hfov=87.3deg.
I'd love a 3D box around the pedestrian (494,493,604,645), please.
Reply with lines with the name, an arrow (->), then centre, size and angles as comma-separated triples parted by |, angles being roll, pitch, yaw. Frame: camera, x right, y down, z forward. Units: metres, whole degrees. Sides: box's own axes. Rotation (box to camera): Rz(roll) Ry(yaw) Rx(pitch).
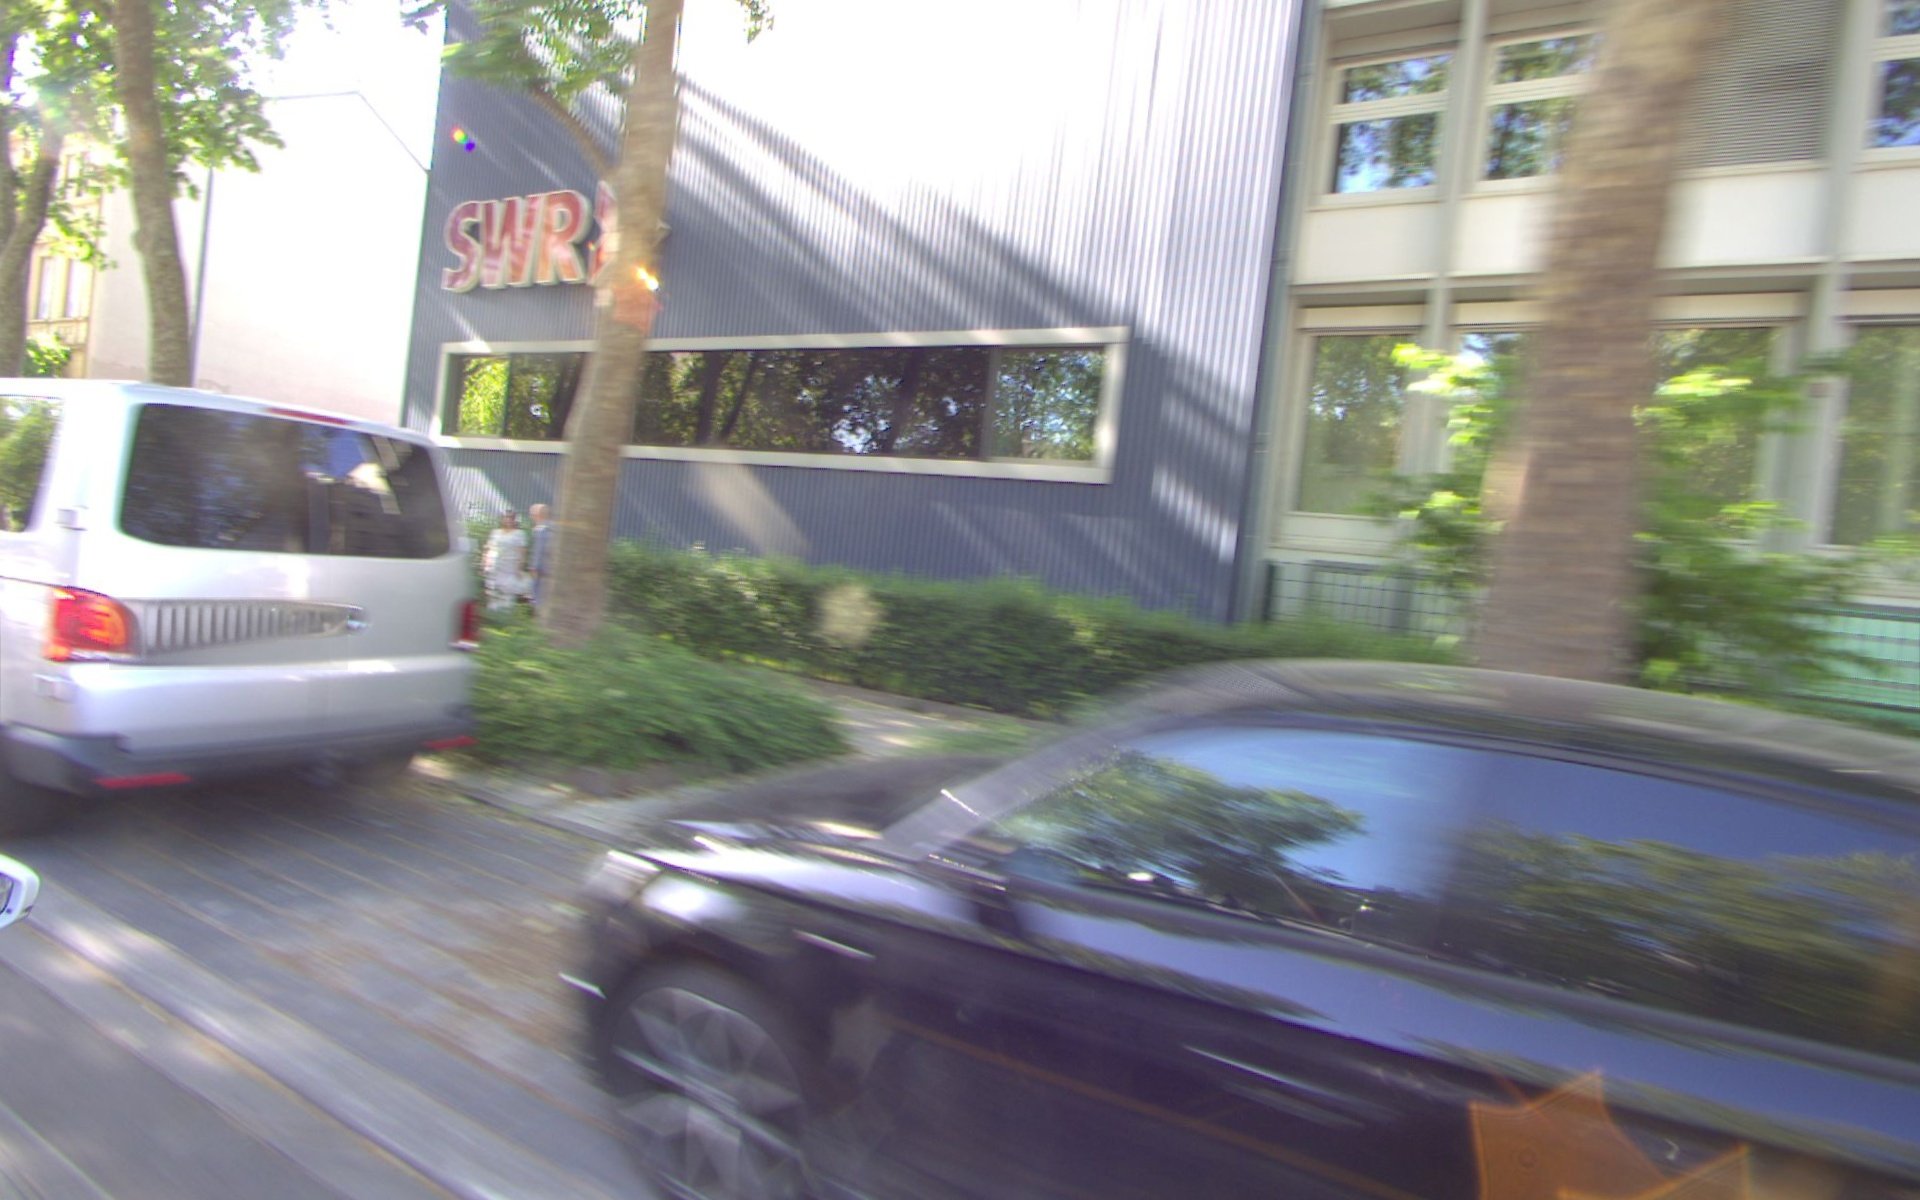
pedestrian -> -4.937, -0.362, 12.106 | 0.663, 1.668, 0.708 | 10, 0, 26

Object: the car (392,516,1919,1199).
car -> 0.756, 0.836, 2.405 | 4.057, 1.558, 1.661 | 7, -1, 28

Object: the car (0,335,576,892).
car -> -4.877, -0.158, 5.658 | 5.182, 1.970, 2.030 | 7, 0, 28

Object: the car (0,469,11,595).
car -> -9.841, -0.553, 8.337 | 4.032, 1.496, 1.750 | 7, 1, 30

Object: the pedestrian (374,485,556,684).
pedestrian -> -4.493, -0.136, 9.146 | 1.245, 1.622, 0.729 | 7, 1, 26
